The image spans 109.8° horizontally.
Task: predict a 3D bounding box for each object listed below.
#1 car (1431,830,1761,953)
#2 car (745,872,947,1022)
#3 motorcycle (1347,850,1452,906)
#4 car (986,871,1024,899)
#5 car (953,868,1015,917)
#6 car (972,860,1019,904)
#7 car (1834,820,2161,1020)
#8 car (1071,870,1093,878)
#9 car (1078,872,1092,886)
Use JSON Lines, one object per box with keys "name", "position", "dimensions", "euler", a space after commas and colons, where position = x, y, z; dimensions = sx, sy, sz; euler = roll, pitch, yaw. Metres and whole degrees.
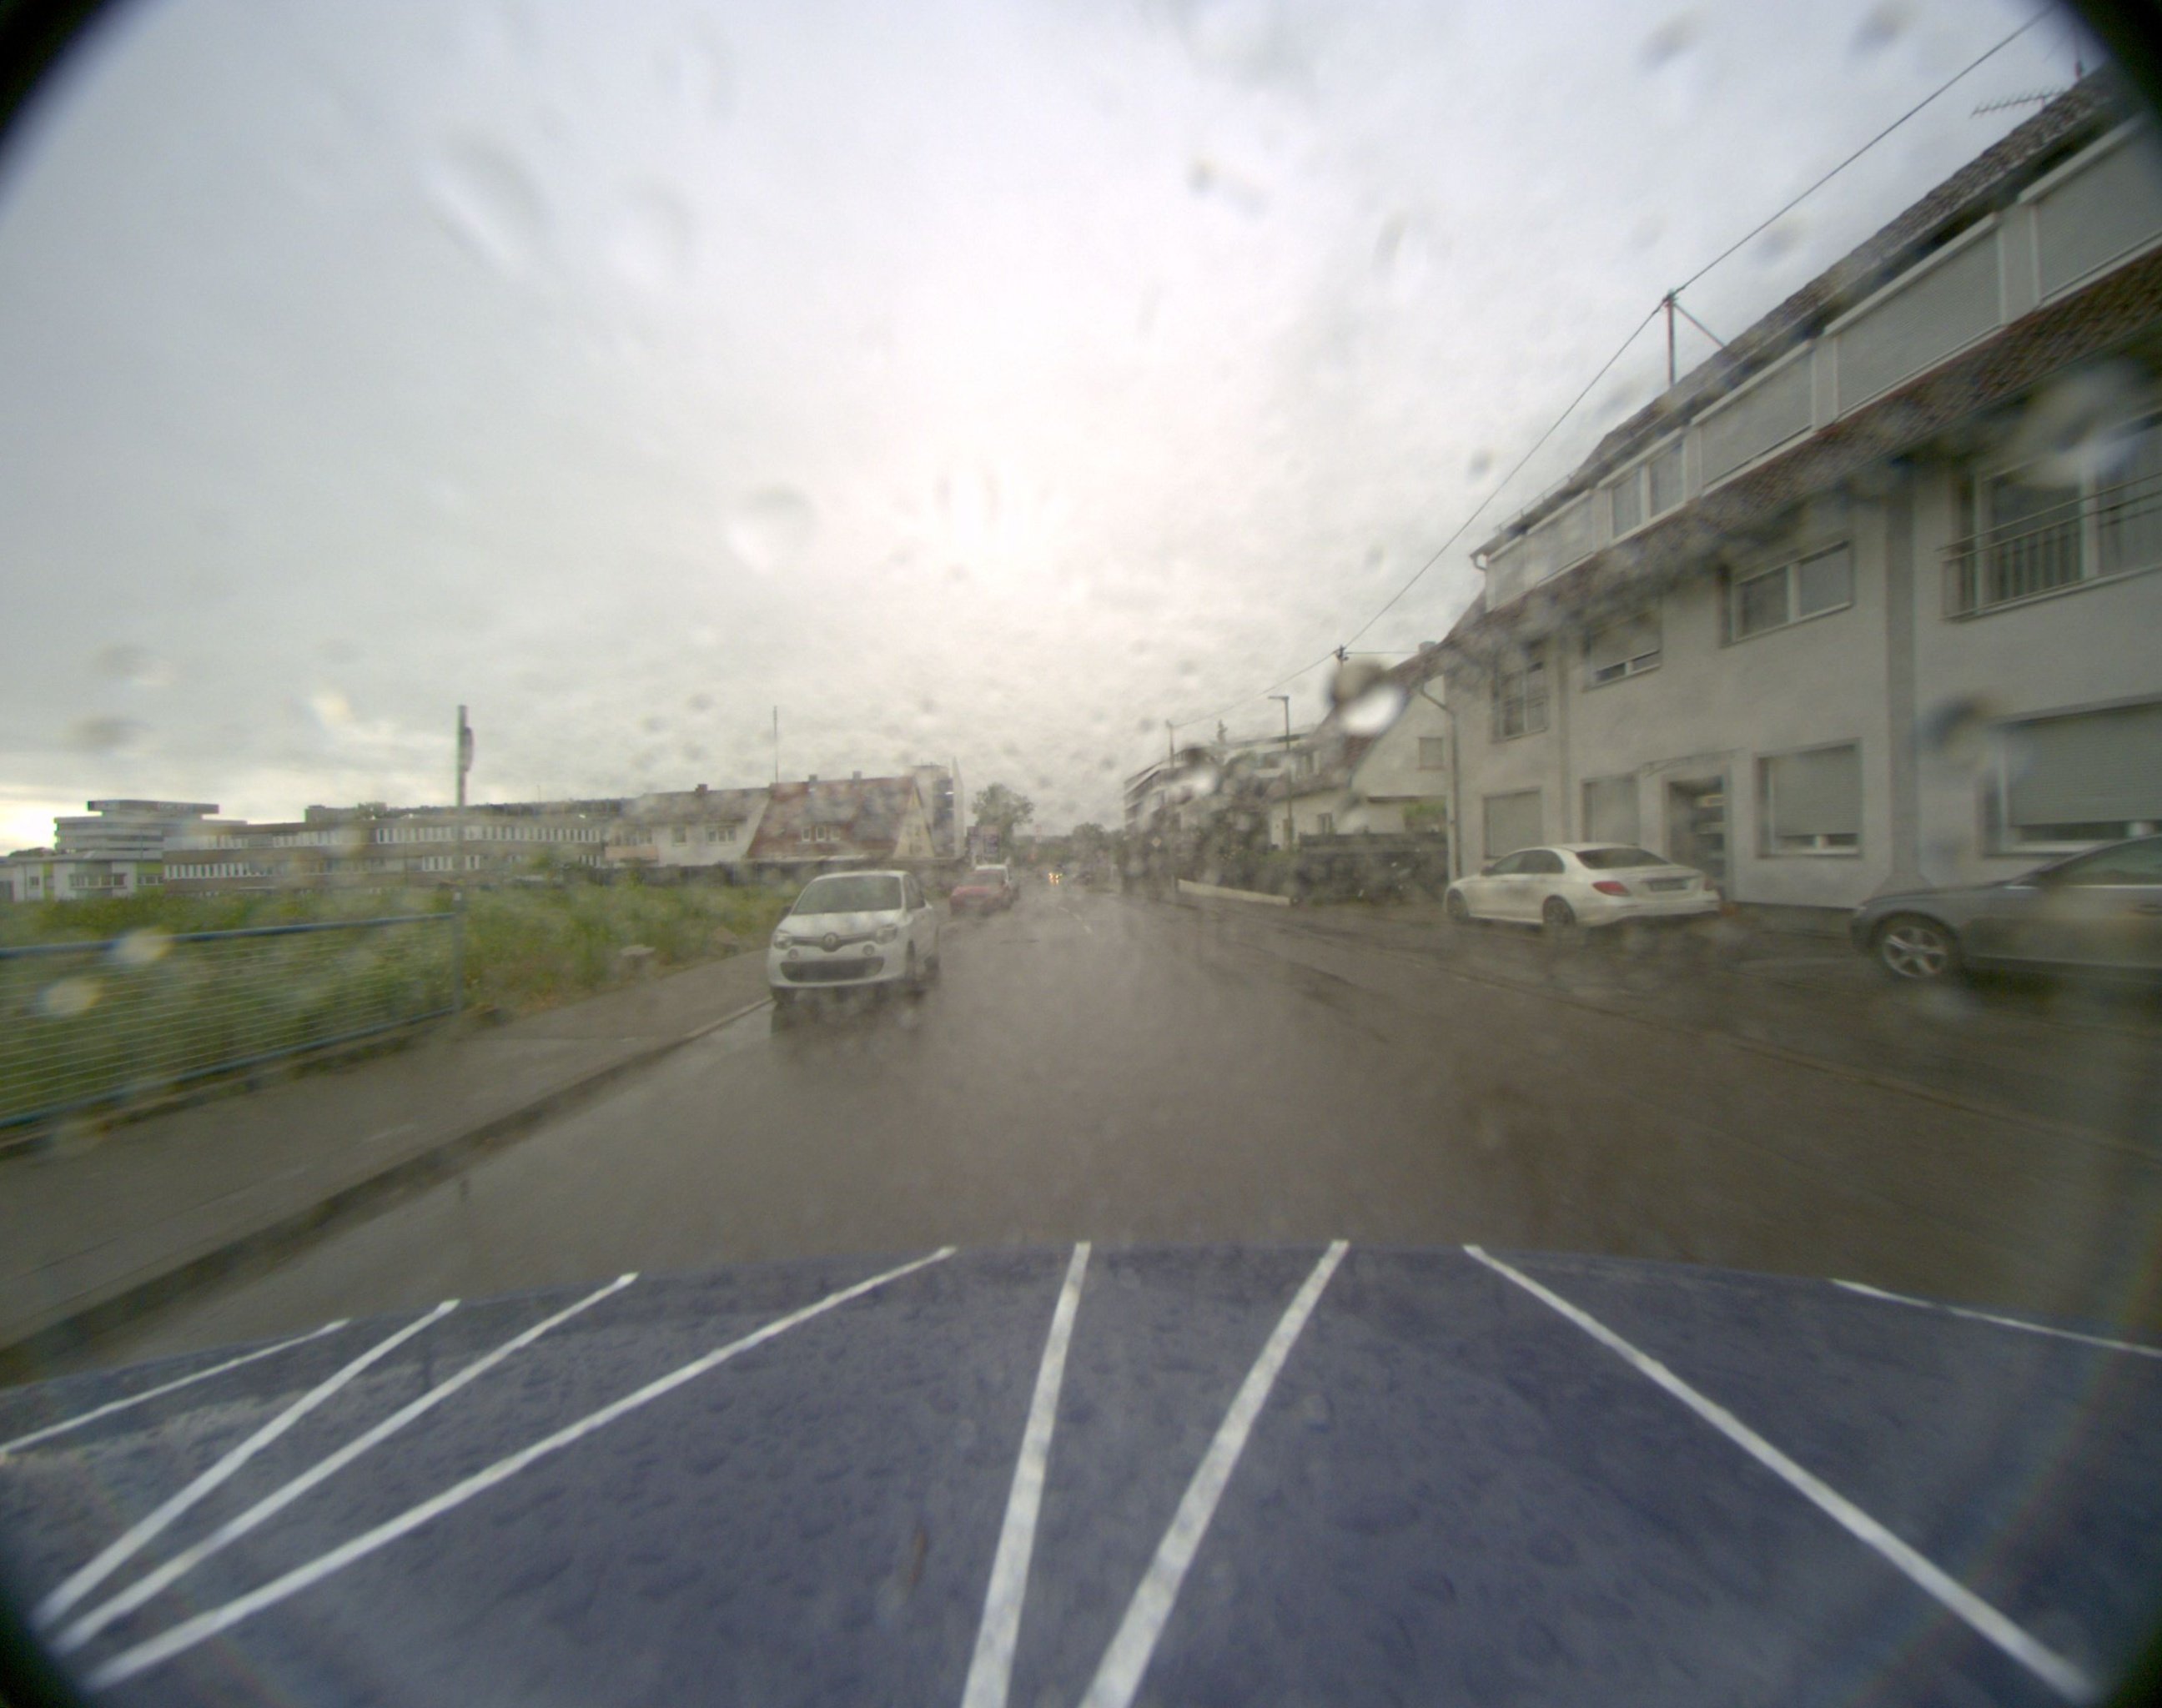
{"name": "car", "position": [8.149, 0.541, 12.791], "dimensions": [1.999, 1.501, 4.895], "euler": [-5, 0, -2]}
{"name": "car", "position": [-2.944, 1.085, 10.336], "dimensions": [1.686, 1.548, 3.674], "euler": [-3, 0, -3]}
{"name": "motorcycle", "position": [8.356, 0.631, 19.981], "dimensions": [2.369, 1.266, 0.736], "euler": [-4, 0, -2]}
{"name": "car", "position": [-4.045, 1.658, 41.172], "dimensions": [1.773, 1.327, 4.320], "euler": [-3, -1, -3]}
{"name": "car", "position": [-3.441, 1.322, 27.639], "dimensions": [1.647, 1.565, 4.644], "euler": [-3, -1, -1]}
{"name": "car", "position": [-3.896, 1.265, 35.121], "dimensions": [1.773, 1.814, 4.574], "euler": [-3, -1, -3]}
{"name": "car", "position": [8.660, 0.438, 5.404], "dimensions": [1.832, 1.360, 4.568], "euler": [-5, 0, -4]}
{"name": "car", "position": [0.197, 4.002, 152.143], "dimensions": [4.167, 1.411, 2.001], "euler": [-4, -1, 3]}
{"name": "car", "position": [0.523, 3.463, 105.677], "dimensions": [1.842, 1.695, 4.324], "euler": [-2, -1, 0]}
